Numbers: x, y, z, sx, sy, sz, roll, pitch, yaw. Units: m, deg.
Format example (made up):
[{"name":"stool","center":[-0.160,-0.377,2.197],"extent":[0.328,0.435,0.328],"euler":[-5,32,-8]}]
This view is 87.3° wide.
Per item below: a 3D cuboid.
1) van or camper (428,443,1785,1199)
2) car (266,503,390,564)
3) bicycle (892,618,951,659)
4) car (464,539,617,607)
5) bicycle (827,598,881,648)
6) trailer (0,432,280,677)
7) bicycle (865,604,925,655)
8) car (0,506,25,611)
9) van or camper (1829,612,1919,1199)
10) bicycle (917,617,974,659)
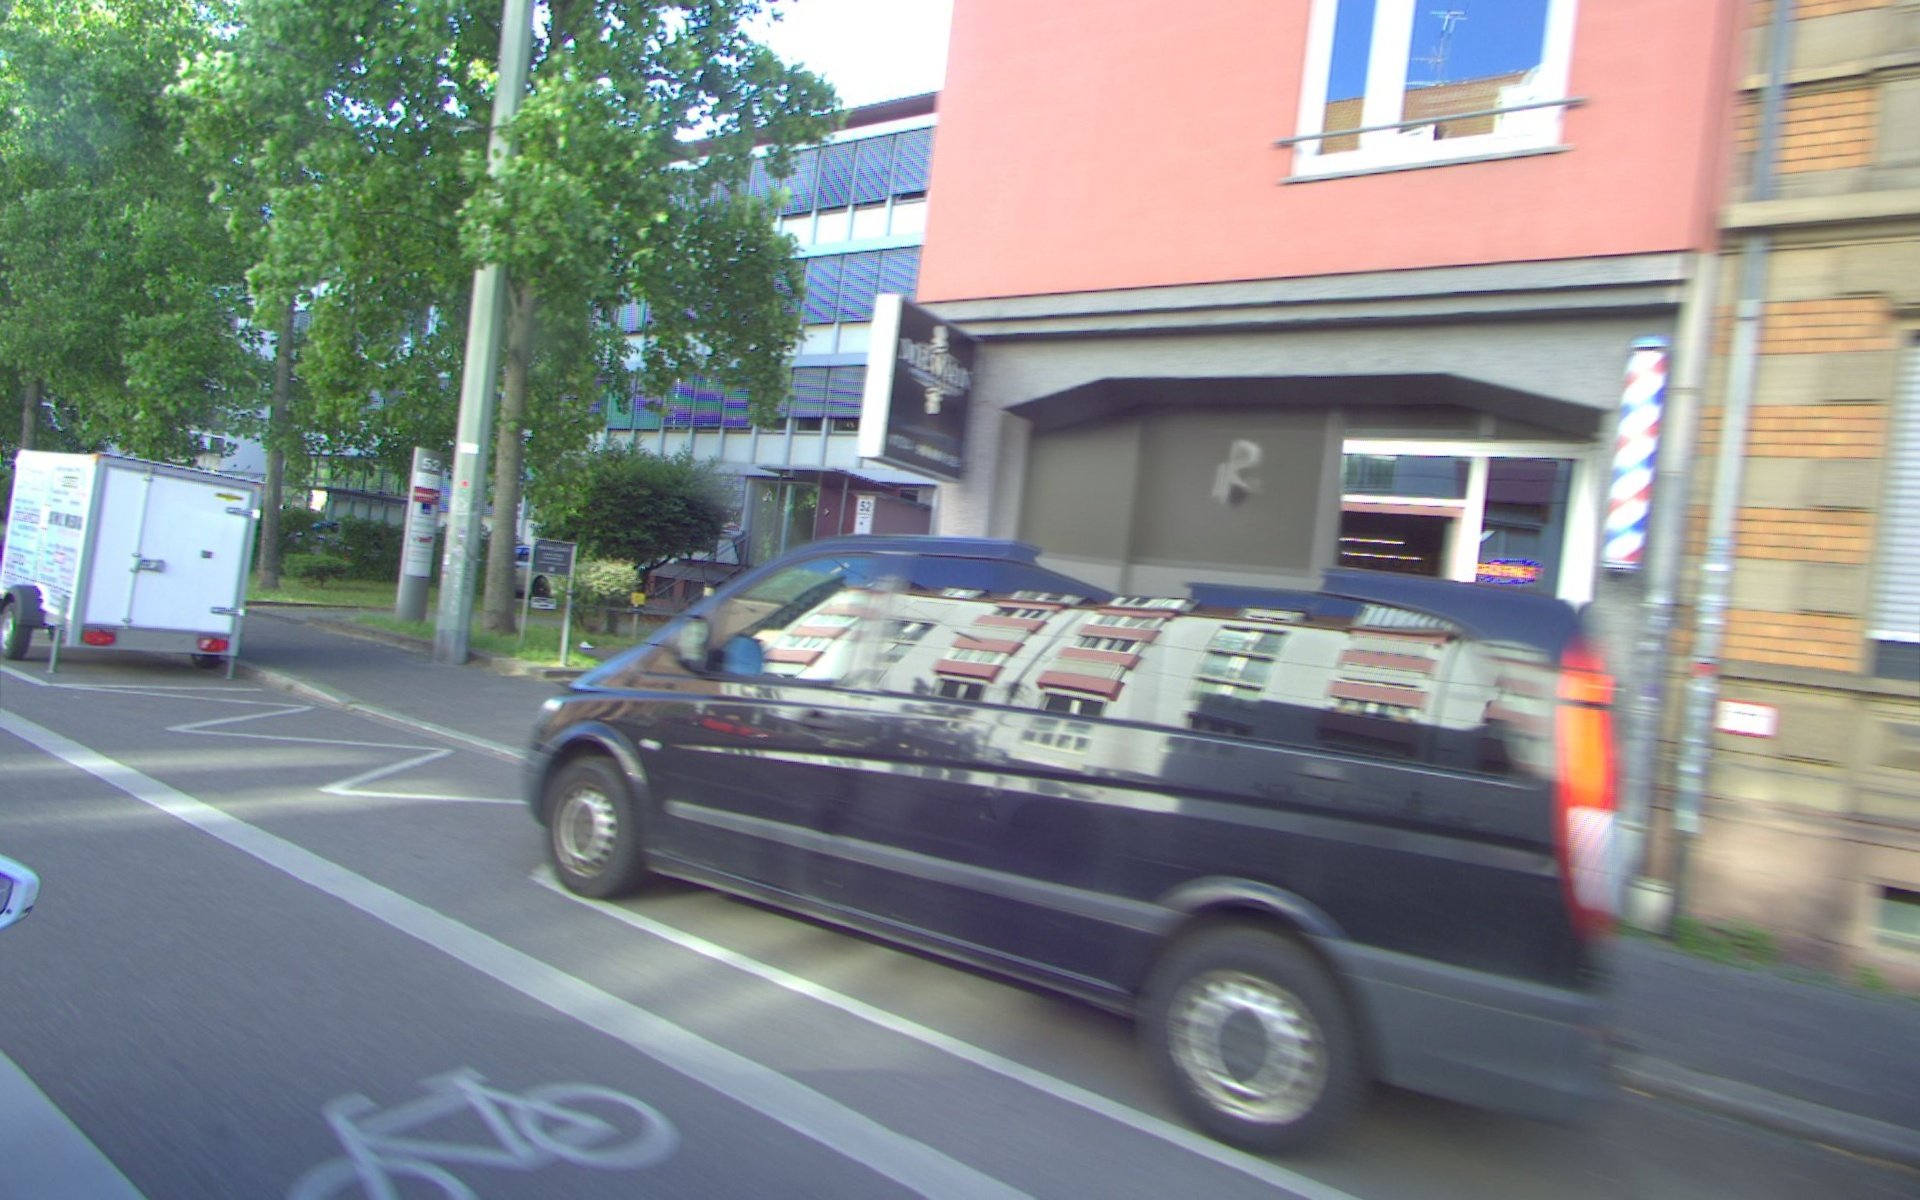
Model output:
[{"name":"van or camper","center":[0.143,0.584,4.652],"extent":[5.241,2.069,1.975],"euler":[7,-2,31]},{"name":"car","center":[-22.293,-2.355,35.448],"extent":[4.235,1.556,1.793],"euler":[8,1,29]},{"name":"bicycle","center":[-0.877,0.903,23.430],"extent":[0.442,0.887,1.583],"euler":[7,2,34]},{"name":"car","center":[-12.097,-0.782,28.989],"extent":[3.929,1.482,1.794],"euler":[6,0,25]},{"name":"bicycle","center":[-2.564,0.567,24.511],"extent":[0.441,1.129,1.585],"euler":[7,2,26]},{"name":"trailer","center":[-9.186,-0.527,10.767],"extent":[3.781,2.141,1.663],"euler":[6,-2,34]},{"name":"bicycle","center":[-1.525,0.715,23.735],"extent":[0.442,1.140,1.583],"euler":[7,2,34]},{"name":"car","center":[-15.672,-0.868,14.627],"extent":[4.251,1.451,1.807],"euler":[6,-3,31]},{"name":"van or camper","center":[5.033,1.238,1.383],"extent":[5.385,2.060,1.935],"euler":[6,-2,32]},{"name":"bicycle","center":[-0.322,0.890,23.306],"extent":[0.442,0.887,1.583],"euler":[7,1,34]}]
